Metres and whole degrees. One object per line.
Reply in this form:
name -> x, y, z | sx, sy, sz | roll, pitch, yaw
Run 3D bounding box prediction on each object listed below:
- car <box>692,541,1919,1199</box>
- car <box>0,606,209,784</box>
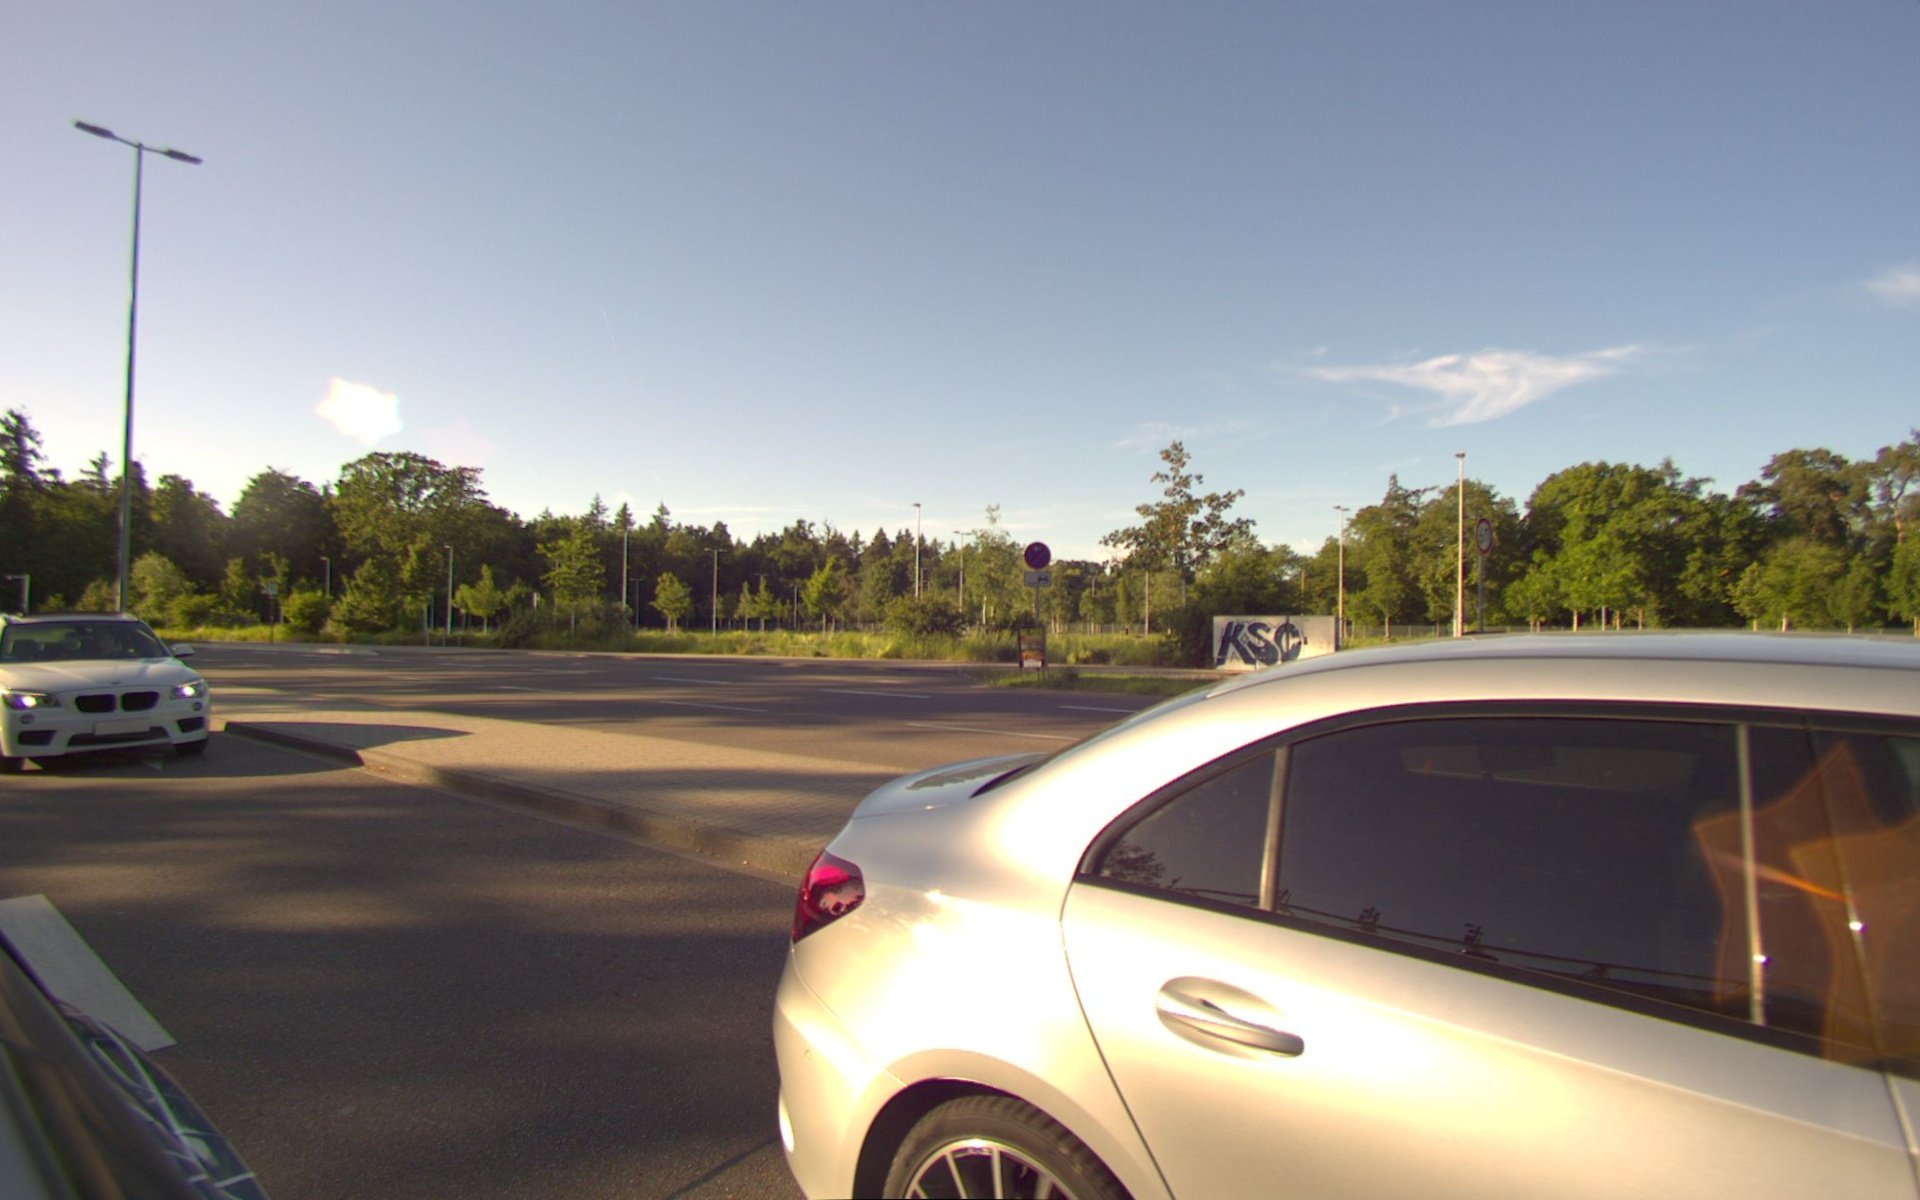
car -> 1.659, 0.659, 1.405 | 4.274, 1.455, 1.767 | -2, -1, 40
car -> -9.886, 0.920, 11.147 | 4.432, 1.593, 1.701 | -2, -1, 41
